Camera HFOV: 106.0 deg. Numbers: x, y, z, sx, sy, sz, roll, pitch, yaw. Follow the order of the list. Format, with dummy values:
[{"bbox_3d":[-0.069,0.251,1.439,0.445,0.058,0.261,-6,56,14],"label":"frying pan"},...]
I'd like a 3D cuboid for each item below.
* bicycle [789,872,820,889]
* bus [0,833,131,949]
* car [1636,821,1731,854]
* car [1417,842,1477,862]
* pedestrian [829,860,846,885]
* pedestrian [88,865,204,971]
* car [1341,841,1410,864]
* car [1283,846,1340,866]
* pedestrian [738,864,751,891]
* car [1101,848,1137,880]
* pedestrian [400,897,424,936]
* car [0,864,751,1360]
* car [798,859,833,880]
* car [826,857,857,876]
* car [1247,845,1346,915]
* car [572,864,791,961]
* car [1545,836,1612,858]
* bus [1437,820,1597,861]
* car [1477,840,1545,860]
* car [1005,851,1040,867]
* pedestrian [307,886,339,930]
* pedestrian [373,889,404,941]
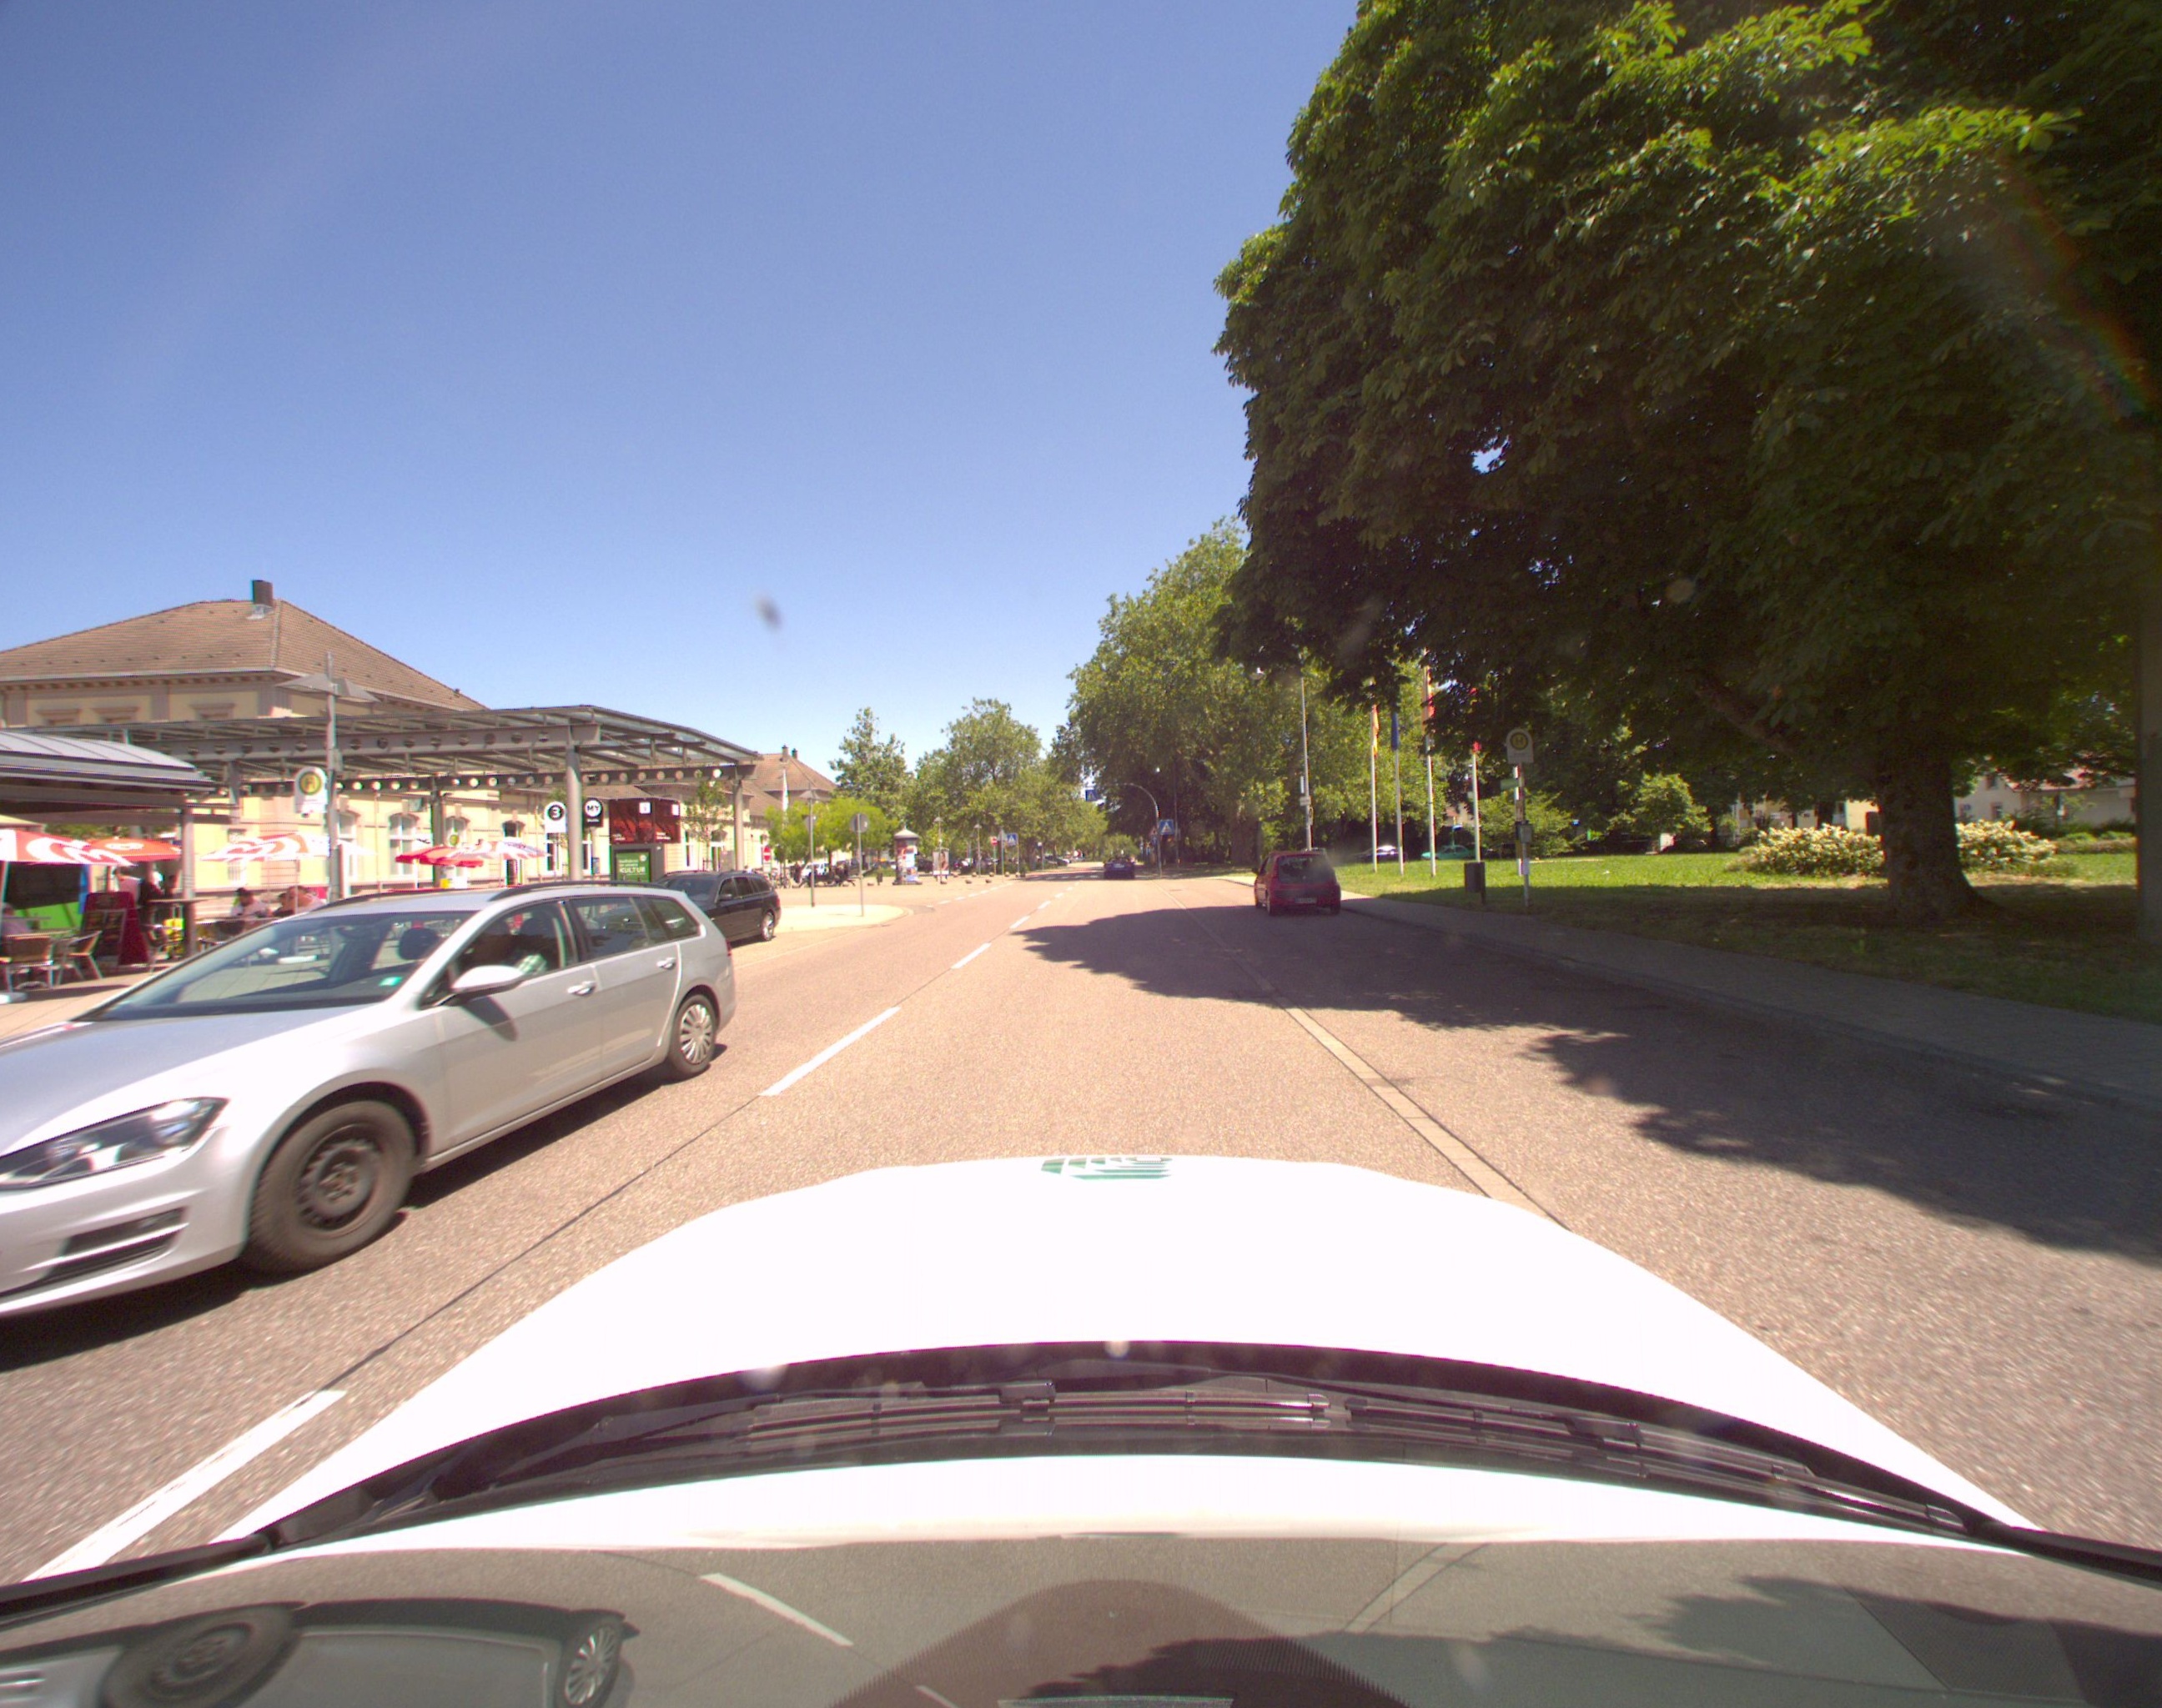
[{"bbox_3d":[-17.628,1.676,51.945,1.799,1.030,0.485,-2,-1,-21],"label":"bicycle"},{"bbox_3d":[-30.083,1.054,16.350,2.854,3.037,15.535,-2,0,4],"label":"bus"},{"bbox_3d":[43.832,-1.161,59.443,5.209,2.089,2.012,-2,-1,25],"label":"car"},{"bbox_3d":[29.116,-0.156,64.850,3.864,1.454,2.002,-1,-1,4],"label":"car"},{"bbox_3d":[-16.356,1.260,54.774,0.754,1.659,0.724,-4,-2,19],"label":"pedestrian"},{"bbox_3d":[-16.836,1.128,14.695,0.793,1.828,1.148,-3,-2,19],"label":"pedestrian"},{"bbox_3d":[23.478,-0.132,65.012,4.799,1.607,2.004,-2,0,6],"label":"car"},{"bbox_3d":[18.519,0.169,65.484,4.085,1.466,2.003,-2,0,5],"label":"car"},{"bbox_3d":[-21.662,1.511,52.460,0.589,1.710,0.580,0,-3,-44],"label":"pedestrian"},{"bbox_3d":[2.349,0.611,50.256,2.116,1.848,4.051,-1,-1,3],"label":"car"},{"bbox_3d":[-16.321,1.528,19.877,0.373,0.923,0.422,-1,-2,-27],"label":"pedestrian"},{"bbox_3d":[-3.767,0.872,4.652,1.807,1.444,4.162,-3,0,3],"label":"car"},{"bbox_3d":[-27.085,1.581,83.268,1.744,1.917,4.778,-2,0,2],"label":"car"},{"bbox_3d":[-26.550,1.371,90.393,1.986,2.013,4.001,-2,0,1],"label":"car"},{"bbox_3d":[5.095,0.572,19.700,1.710,1.478,3.712,-2,0,6],"label":"car"},{"bbox_3d":[-7.400,0.989,15.729,1.712,1.478,4.787,-2,0,1],"label":"car"},{"bbox_3d":[39.182,-0.520,64.205,4.078,1.609,2.002,-1,-1,4],"label":"car"},{"bbox_3d":[37.490,-1.156,70.281,12.330,2.978,2.269,-2,-1,2],"label":"bus"},{"bbox_3d":[34.052,-0.286,64.619,4.319,1.416,2.001,-1,-1,3],"label":"car"},{"bbox_3d":[-7.261,0.640,101.317,3.995,1.781,1.989,-2,0,-16],"label":"car"},{"bbox_3d":[-17.456,1.243,18.758,0.421,0.972,0.373,-3,-2,15],"label":"pedestrian"},{"bbox_3d":[-15.356,1.347,18.056,0.367,1.123,0.429,-4,-2,36],"label":"pedestrian"}]
